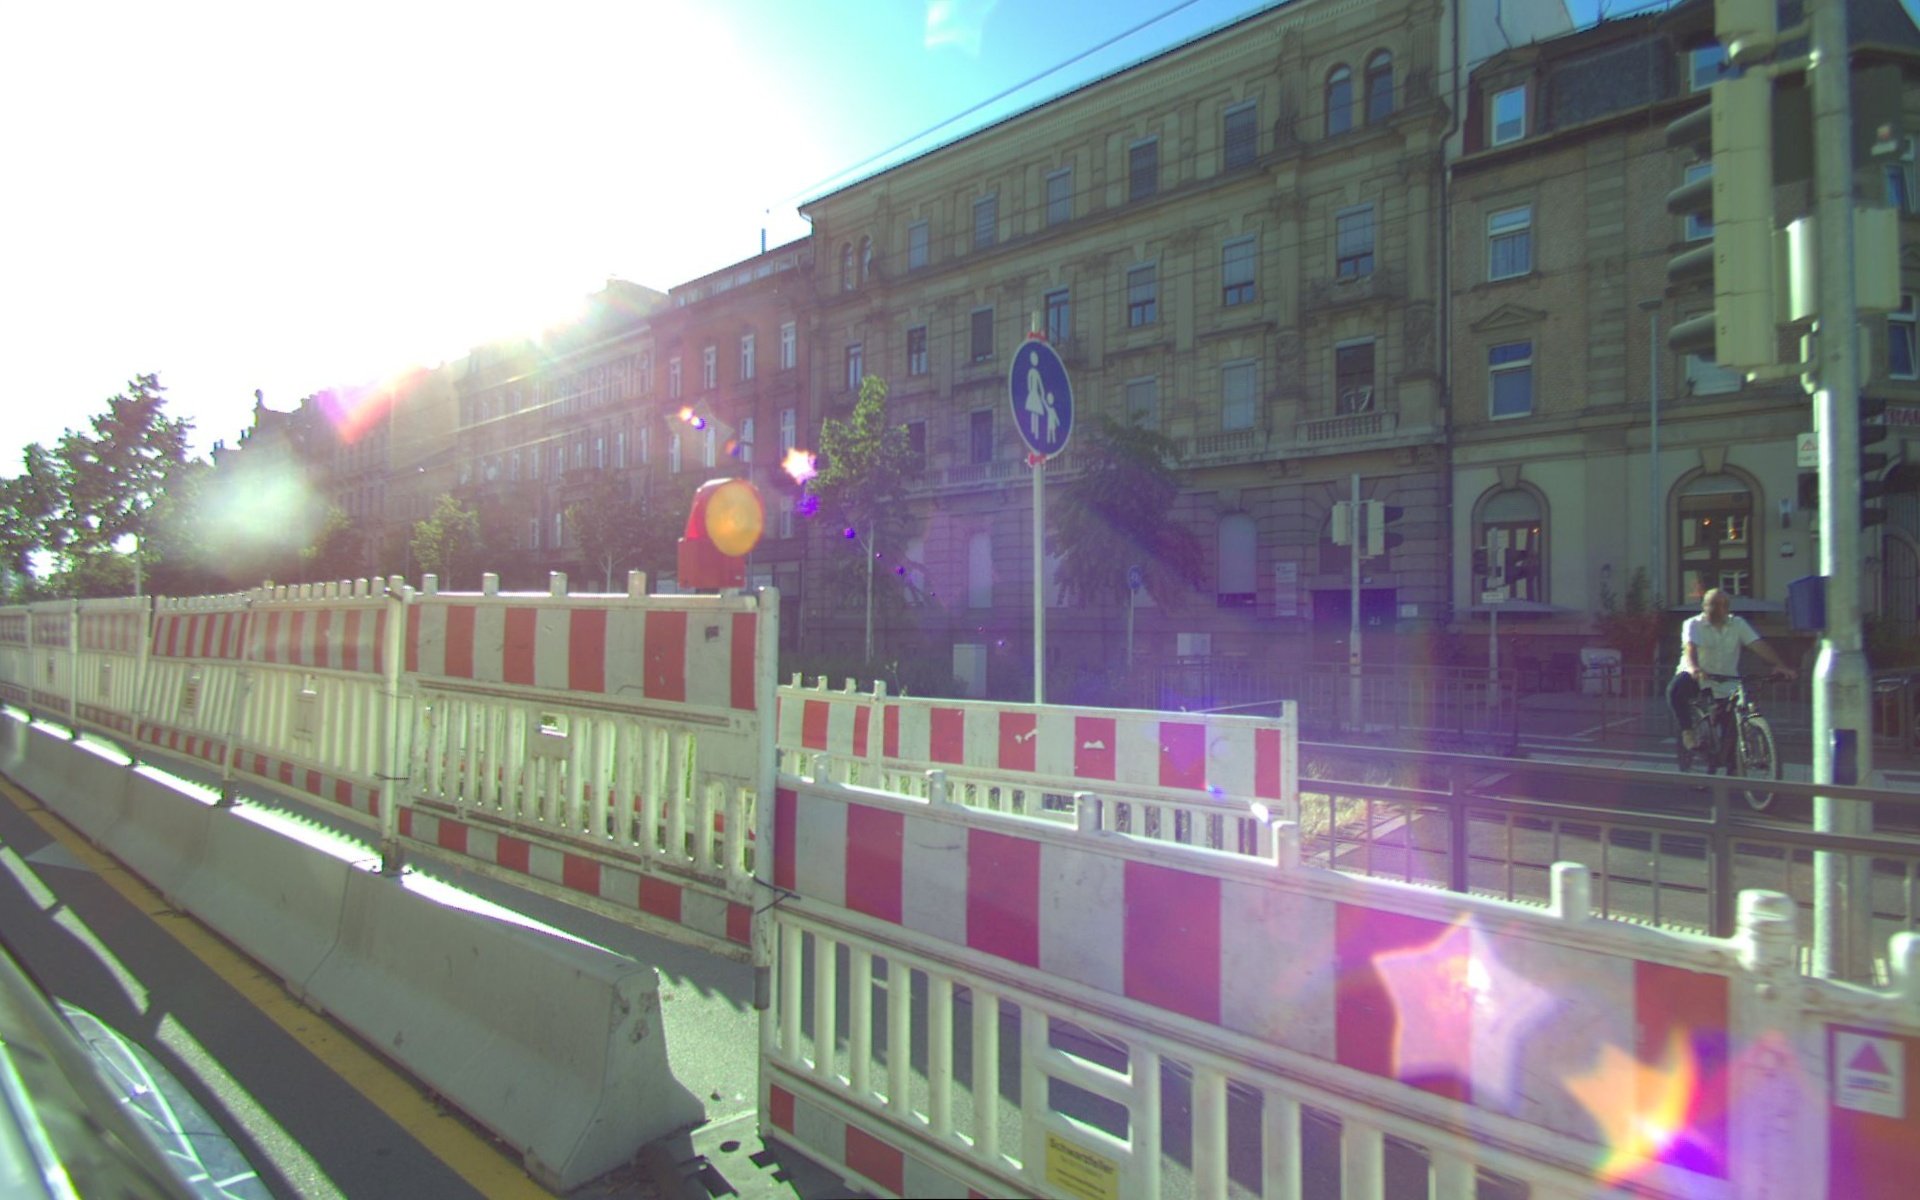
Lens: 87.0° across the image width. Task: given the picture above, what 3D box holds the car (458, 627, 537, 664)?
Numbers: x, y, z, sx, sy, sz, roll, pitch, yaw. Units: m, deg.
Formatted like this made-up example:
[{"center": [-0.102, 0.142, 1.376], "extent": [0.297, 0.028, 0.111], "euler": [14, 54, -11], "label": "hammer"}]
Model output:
[{"center": [-22.541, 2.181, 49.239], "extent": [4.544, 1.671, 1.917], "euler": [-1, 0, 43], "label": "car"}]

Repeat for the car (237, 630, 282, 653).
[{"center": [-49.802, 2.914, 71.926], "extent": [4.026, 1.490, 1.730], "euler": [-1, 0, 41], "label": "car"}]

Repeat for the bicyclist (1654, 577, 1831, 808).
[{"center": [6.439, 0.728, 8.393], "extent": [0.848, 1.787, 0.881], "euler": [0, -2, 15], "label": "bicyclist"}]

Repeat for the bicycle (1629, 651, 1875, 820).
[{"center": [6.441, 1.036, 8.399], "extent": [0.848, 1.162, 1.988], "euler": [0, -2, 14], "label": "bicycle"}]

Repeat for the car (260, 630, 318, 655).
[{"center": [-44.789, 2.797, 67.508], "extent": [4.982, 1.549, 1.973], "euler": [-1, 0, 41], "label": "car"}]

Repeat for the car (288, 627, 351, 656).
[{"center": [-40.114, 2.572, 63.329], "extent": [4.884, 1.710, 1.973], "euler": [-1, 0, 40], "label": "car"}]

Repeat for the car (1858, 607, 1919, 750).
[{"center": [13.043, 0.907, 11.290], "extent": [4.475, 1.652, 1.777], "euler": [-1, -2, 42], "label": "car"}]
